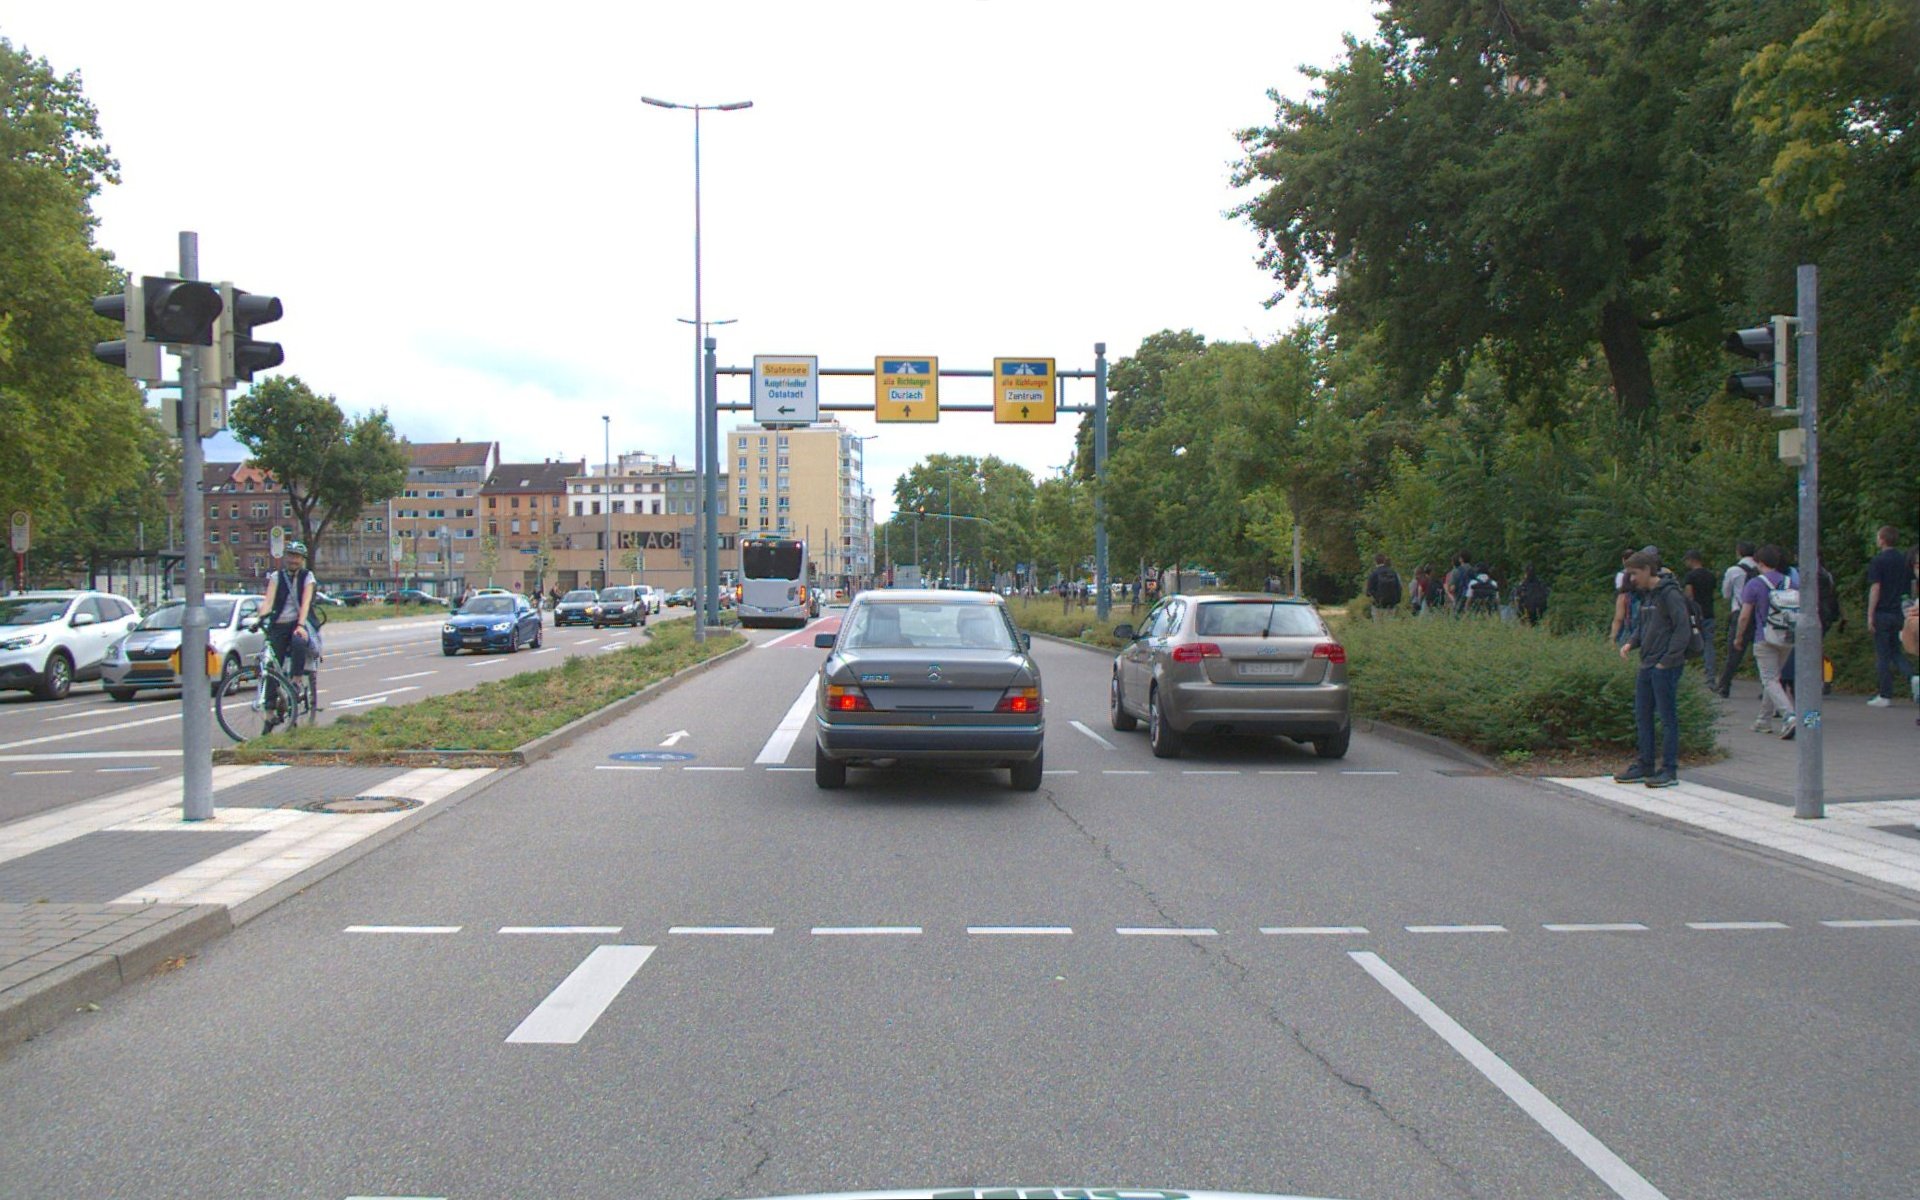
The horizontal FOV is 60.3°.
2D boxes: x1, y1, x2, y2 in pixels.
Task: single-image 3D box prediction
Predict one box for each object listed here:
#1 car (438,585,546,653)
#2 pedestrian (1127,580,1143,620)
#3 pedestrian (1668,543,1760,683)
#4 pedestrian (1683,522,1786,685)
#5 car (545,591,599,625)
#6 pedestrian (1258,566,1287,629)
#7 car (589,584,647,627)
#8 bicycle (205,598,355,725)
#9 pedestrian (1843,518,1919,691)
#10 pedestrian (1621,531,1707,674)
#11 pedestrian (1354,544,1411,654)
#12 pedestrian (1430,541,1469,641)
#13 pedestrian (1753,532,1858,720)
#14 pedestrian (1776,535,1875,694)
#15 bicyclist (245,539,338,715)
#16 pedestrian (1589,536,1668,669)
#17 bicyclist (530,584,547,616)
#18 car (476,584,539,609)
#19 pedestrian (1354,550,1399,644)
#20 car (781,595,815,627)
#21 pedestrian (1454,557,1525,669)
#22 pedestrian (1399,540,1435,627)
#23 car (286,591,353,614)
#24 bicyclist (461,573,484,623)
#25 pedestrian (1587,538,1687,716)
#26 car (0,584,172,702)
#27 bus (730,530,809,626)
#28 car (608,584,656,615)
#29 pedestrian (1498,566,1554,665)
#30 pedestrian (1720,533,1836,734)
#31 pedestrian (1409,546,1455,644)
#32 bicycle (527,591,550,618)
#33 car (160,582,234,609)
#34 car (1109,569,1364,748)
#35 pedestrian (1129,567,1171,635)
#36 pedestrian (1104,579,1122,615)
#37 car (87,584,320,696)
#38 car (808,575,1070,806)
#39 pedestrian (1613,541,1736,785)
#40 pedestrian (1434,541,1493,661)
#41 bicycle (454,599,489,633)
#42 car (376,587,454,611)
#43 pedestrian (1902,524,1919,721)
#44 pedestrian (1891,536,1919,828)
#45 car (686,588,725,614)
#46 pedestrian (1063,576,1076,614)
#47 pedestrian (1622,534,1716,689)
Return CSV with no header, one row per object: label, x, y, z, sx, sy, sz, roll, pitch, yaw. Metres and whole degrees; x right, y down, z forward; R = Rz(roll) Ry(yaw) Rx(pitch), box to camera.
car,-11.633,0.427,41.322,1.766,1.537,4.101,-1,1,-4
pedestrian,7.547,-0.002,71.372,0.632,1.743,0.562,-1,0,12
pedestrian,9.388,0.149,20.622,0.644,1.696,0.970,-1,0,-5
pedestrian,8.862,0.032,18.942,0.644,1.797,0.956,-1,0,-5
car,-16.194,0.316,69.179,1.472,1.389,3.831,0,1,-2
pedestrian,8.512,-0.074,45.060,0.575,1.712,0.748,-1,0,-3
car,-12.870,0.185,62.408,1.540,1.515,3.635,-1,1,-2
bicycle,-6.228,0.533,15.258,0.561,1.074,1.926,0,1,1
pedestrian,9.860,0.043,17.421,0.644,1.775,0.779,-1,0,-5
pedestrian,8.712,0.028,20.486,0.644,1.719,0.841,-1,0,-5
pedestrian,7.287,-0.027,28.553,0.679,1.853,0.953,-1,0,-3
pedestrian,8.916,-0.159,30.123,0.474,1.794,0.663,-1,0,-3
pedestrian,8.228,0.245,16.117,0.570,1.775,0.789,-1,0,-5
pedestrian,9.623,0.152,18.415,0.644,1.729,0.779,-1,0,-5
bicyclist,-6.226,0.245,15.422,0.560,1.601,0.699,0,0,1
pedestrian,9.173,0.031,22.715,0.707,1.775,0.812,-1,0,-3
bicyclist,-18.820,-0.002,73.780,0.568,1.443,0.811,-1,0,-2
car,-29.487,-0.220,107.800,3.784,1.544,1.657,1,0,-9
pedestrian,7.938,-0.065,31.548,0.606,1.766,0.814,-1,0,-3
car,-8.033,0.515,82.028,1.623,1.421,3.856,-1,2,-6
pedestrian,7.923,0.188,24.774,0.760,1.630,0.812,-1,0,-3
pedestrian,8.868,-0.314,32.108,0.458,1.662,0.652,-1,0,-3
car,-41.295,0.152,106.681,3.692,1.419,1.582,1,0,-8
bicyclist,-18.124,-0.081,61.509,0.605,1.813,0.811,-1,0,1
pedestrian,6.936,0.266,16.973,0.644,1.775,0.779,-1,0,-5
car,-14.108,0.603,25.687,1.827,1.681,4.419,-1,0,-3
bus,-7.202,-0.842,63.528,2.776,3.449,8.174,0,1,-5
car,-16.517,-0.037,83.454,1.765,1.515,4.413,-1,1,-3
pedestrian,9.351,0.250,27.340,0.623,1.611,0.785,-1,0,-3
pedestrian,7.450,0.290,15.086,0.612,1.775,0.779,-1,0,-5
pedestrian,8.276,-0.085,29.000,0.544,1.684,0.753,-1,0,-3
bicycle,-18.835,0.197,73.890,0.570,1.191,1.964,-1,0,-1
car,-50.582,-0.310,109.712,4.078,1.678,1.643,-1,0,-10
car,2.490,0.474,15.738,1.689,1.483,3.734,-1,1,-2
pedestrian,5.256,0.030,45.694,0.915,1.862,0.887,-1,0,24
pedestrian,7.580,-0.161,81.971,0.784,1.743,0.765,-1,0,10
car,-11.215,0.524,24.856,1.766,1.515,4.285,-1,1,-4
car,-0.216,0.577,13.043,1.726,1.515,4.169,-1,1,-2
pedestrian,5.320,0.456,12.340,0.589,1.765,0.654,0,0,-6
pedestrian,7.961,0.009,26.159,0.643,1.853,0.812,-1,0,-3
bicycle,-18.123,0.578,61.384,0.606,1.238,2.045,-1,0,1
car,-35.349,-0.060,107.320,4.582,1.501,1.657,1,0,-9
pedestrian,8.968,0.202,14.751,0.644,1.775,0.779,-1,0,-5
pedestrian,6.017,0.495,9.944,0.445,1.765,0.636,0,0,-6
car,-15.969,0.047,103.902,1.764,1.515,4.289,-1,1,0
pedestrian,5.979,-0.260,90.297,0.602,2.049,0.597,0,0,-5
pedestrian,7.897,0.119,18.445,0.644,1.677,0.811,-1,0,-5
